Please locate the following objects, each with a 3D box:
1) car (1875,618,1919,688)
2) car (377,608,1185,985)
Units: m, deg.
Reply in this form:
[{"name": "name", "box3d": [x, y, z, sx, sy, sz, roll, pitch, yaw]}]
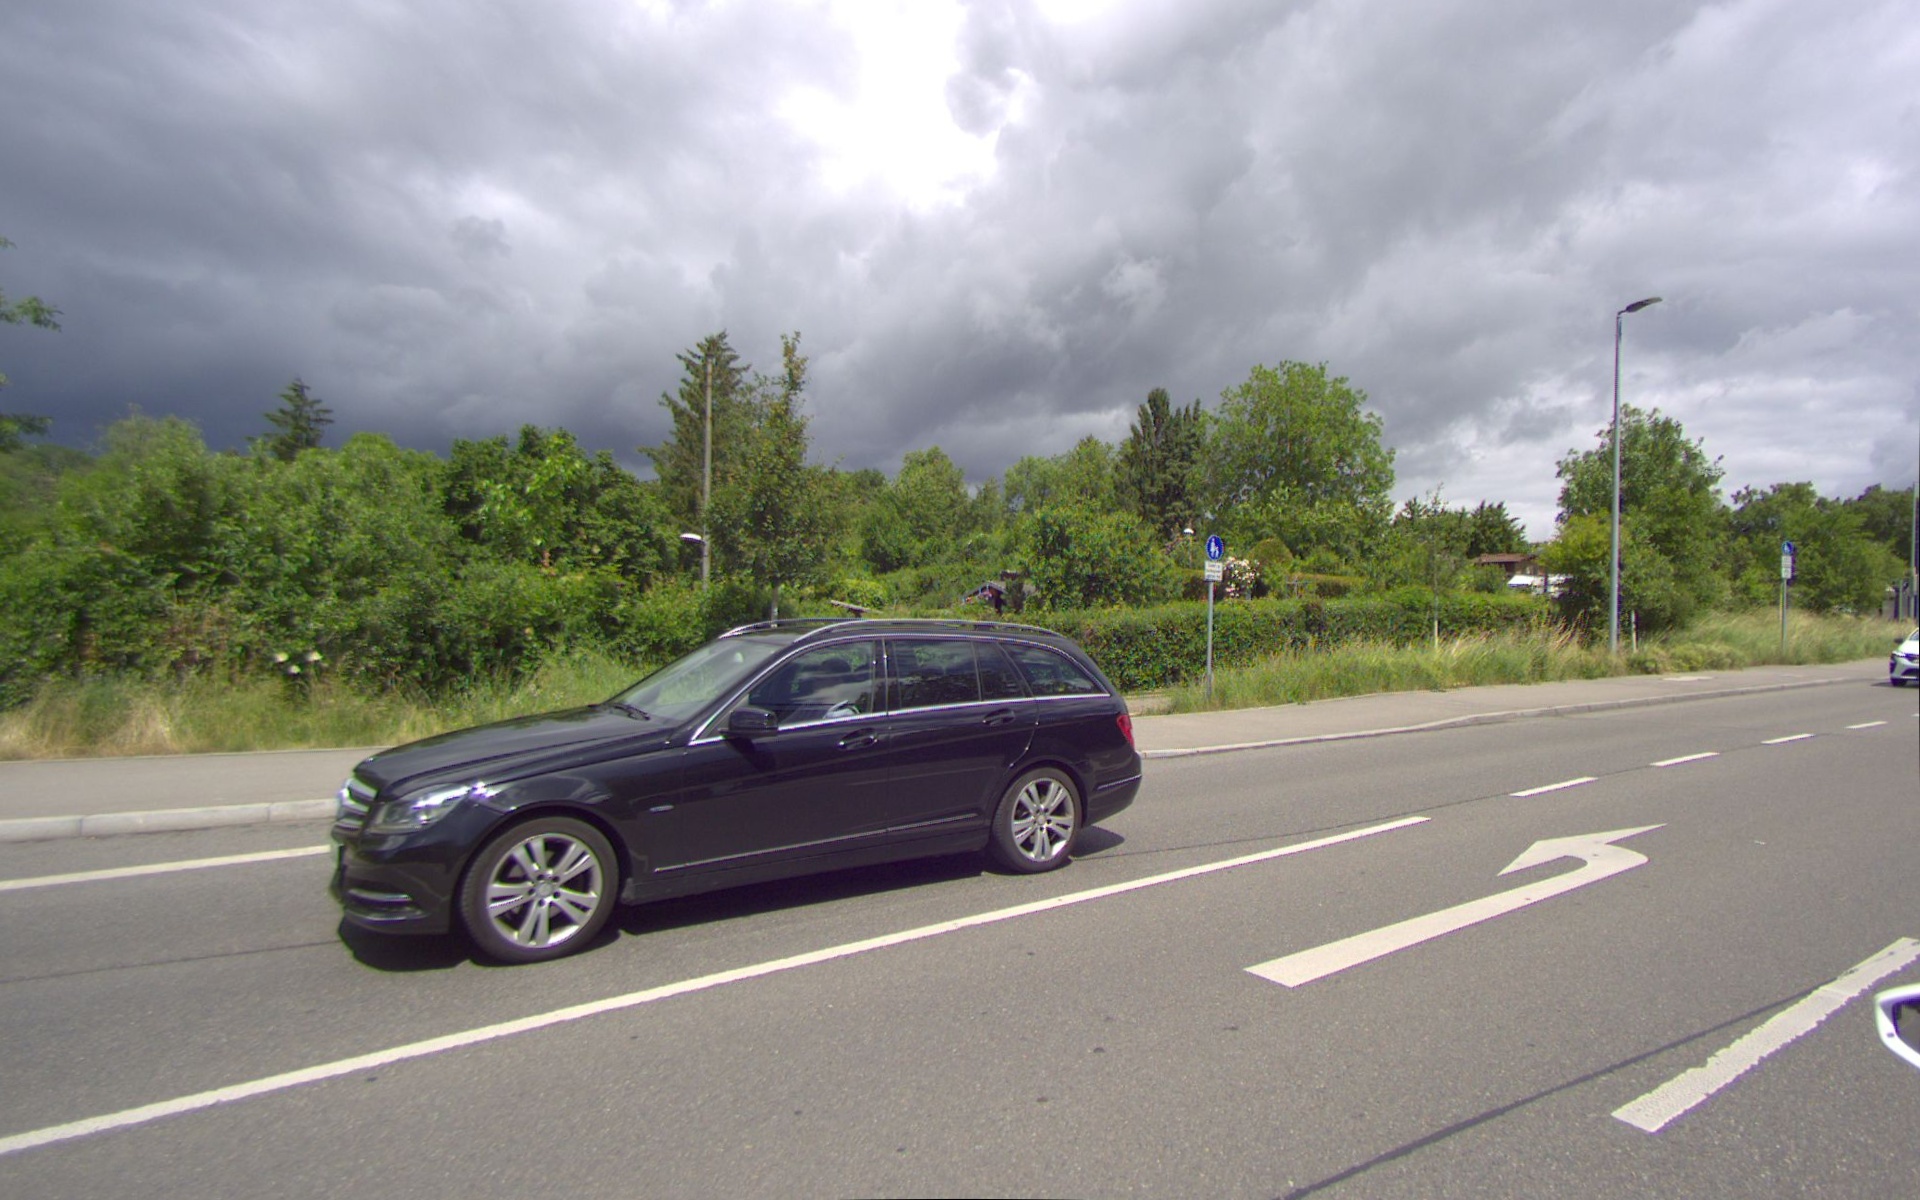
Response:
[{"name": "car", "box3d": [21.876, 1.146, 22.093, 3.860, 1.461, 1.755, 1, -2, -35]}, {"name": "car", "box3d": [-0.838, 0.825, 5.870, 4.333, 1.461, 1.755, 1, -2, -35]}]
